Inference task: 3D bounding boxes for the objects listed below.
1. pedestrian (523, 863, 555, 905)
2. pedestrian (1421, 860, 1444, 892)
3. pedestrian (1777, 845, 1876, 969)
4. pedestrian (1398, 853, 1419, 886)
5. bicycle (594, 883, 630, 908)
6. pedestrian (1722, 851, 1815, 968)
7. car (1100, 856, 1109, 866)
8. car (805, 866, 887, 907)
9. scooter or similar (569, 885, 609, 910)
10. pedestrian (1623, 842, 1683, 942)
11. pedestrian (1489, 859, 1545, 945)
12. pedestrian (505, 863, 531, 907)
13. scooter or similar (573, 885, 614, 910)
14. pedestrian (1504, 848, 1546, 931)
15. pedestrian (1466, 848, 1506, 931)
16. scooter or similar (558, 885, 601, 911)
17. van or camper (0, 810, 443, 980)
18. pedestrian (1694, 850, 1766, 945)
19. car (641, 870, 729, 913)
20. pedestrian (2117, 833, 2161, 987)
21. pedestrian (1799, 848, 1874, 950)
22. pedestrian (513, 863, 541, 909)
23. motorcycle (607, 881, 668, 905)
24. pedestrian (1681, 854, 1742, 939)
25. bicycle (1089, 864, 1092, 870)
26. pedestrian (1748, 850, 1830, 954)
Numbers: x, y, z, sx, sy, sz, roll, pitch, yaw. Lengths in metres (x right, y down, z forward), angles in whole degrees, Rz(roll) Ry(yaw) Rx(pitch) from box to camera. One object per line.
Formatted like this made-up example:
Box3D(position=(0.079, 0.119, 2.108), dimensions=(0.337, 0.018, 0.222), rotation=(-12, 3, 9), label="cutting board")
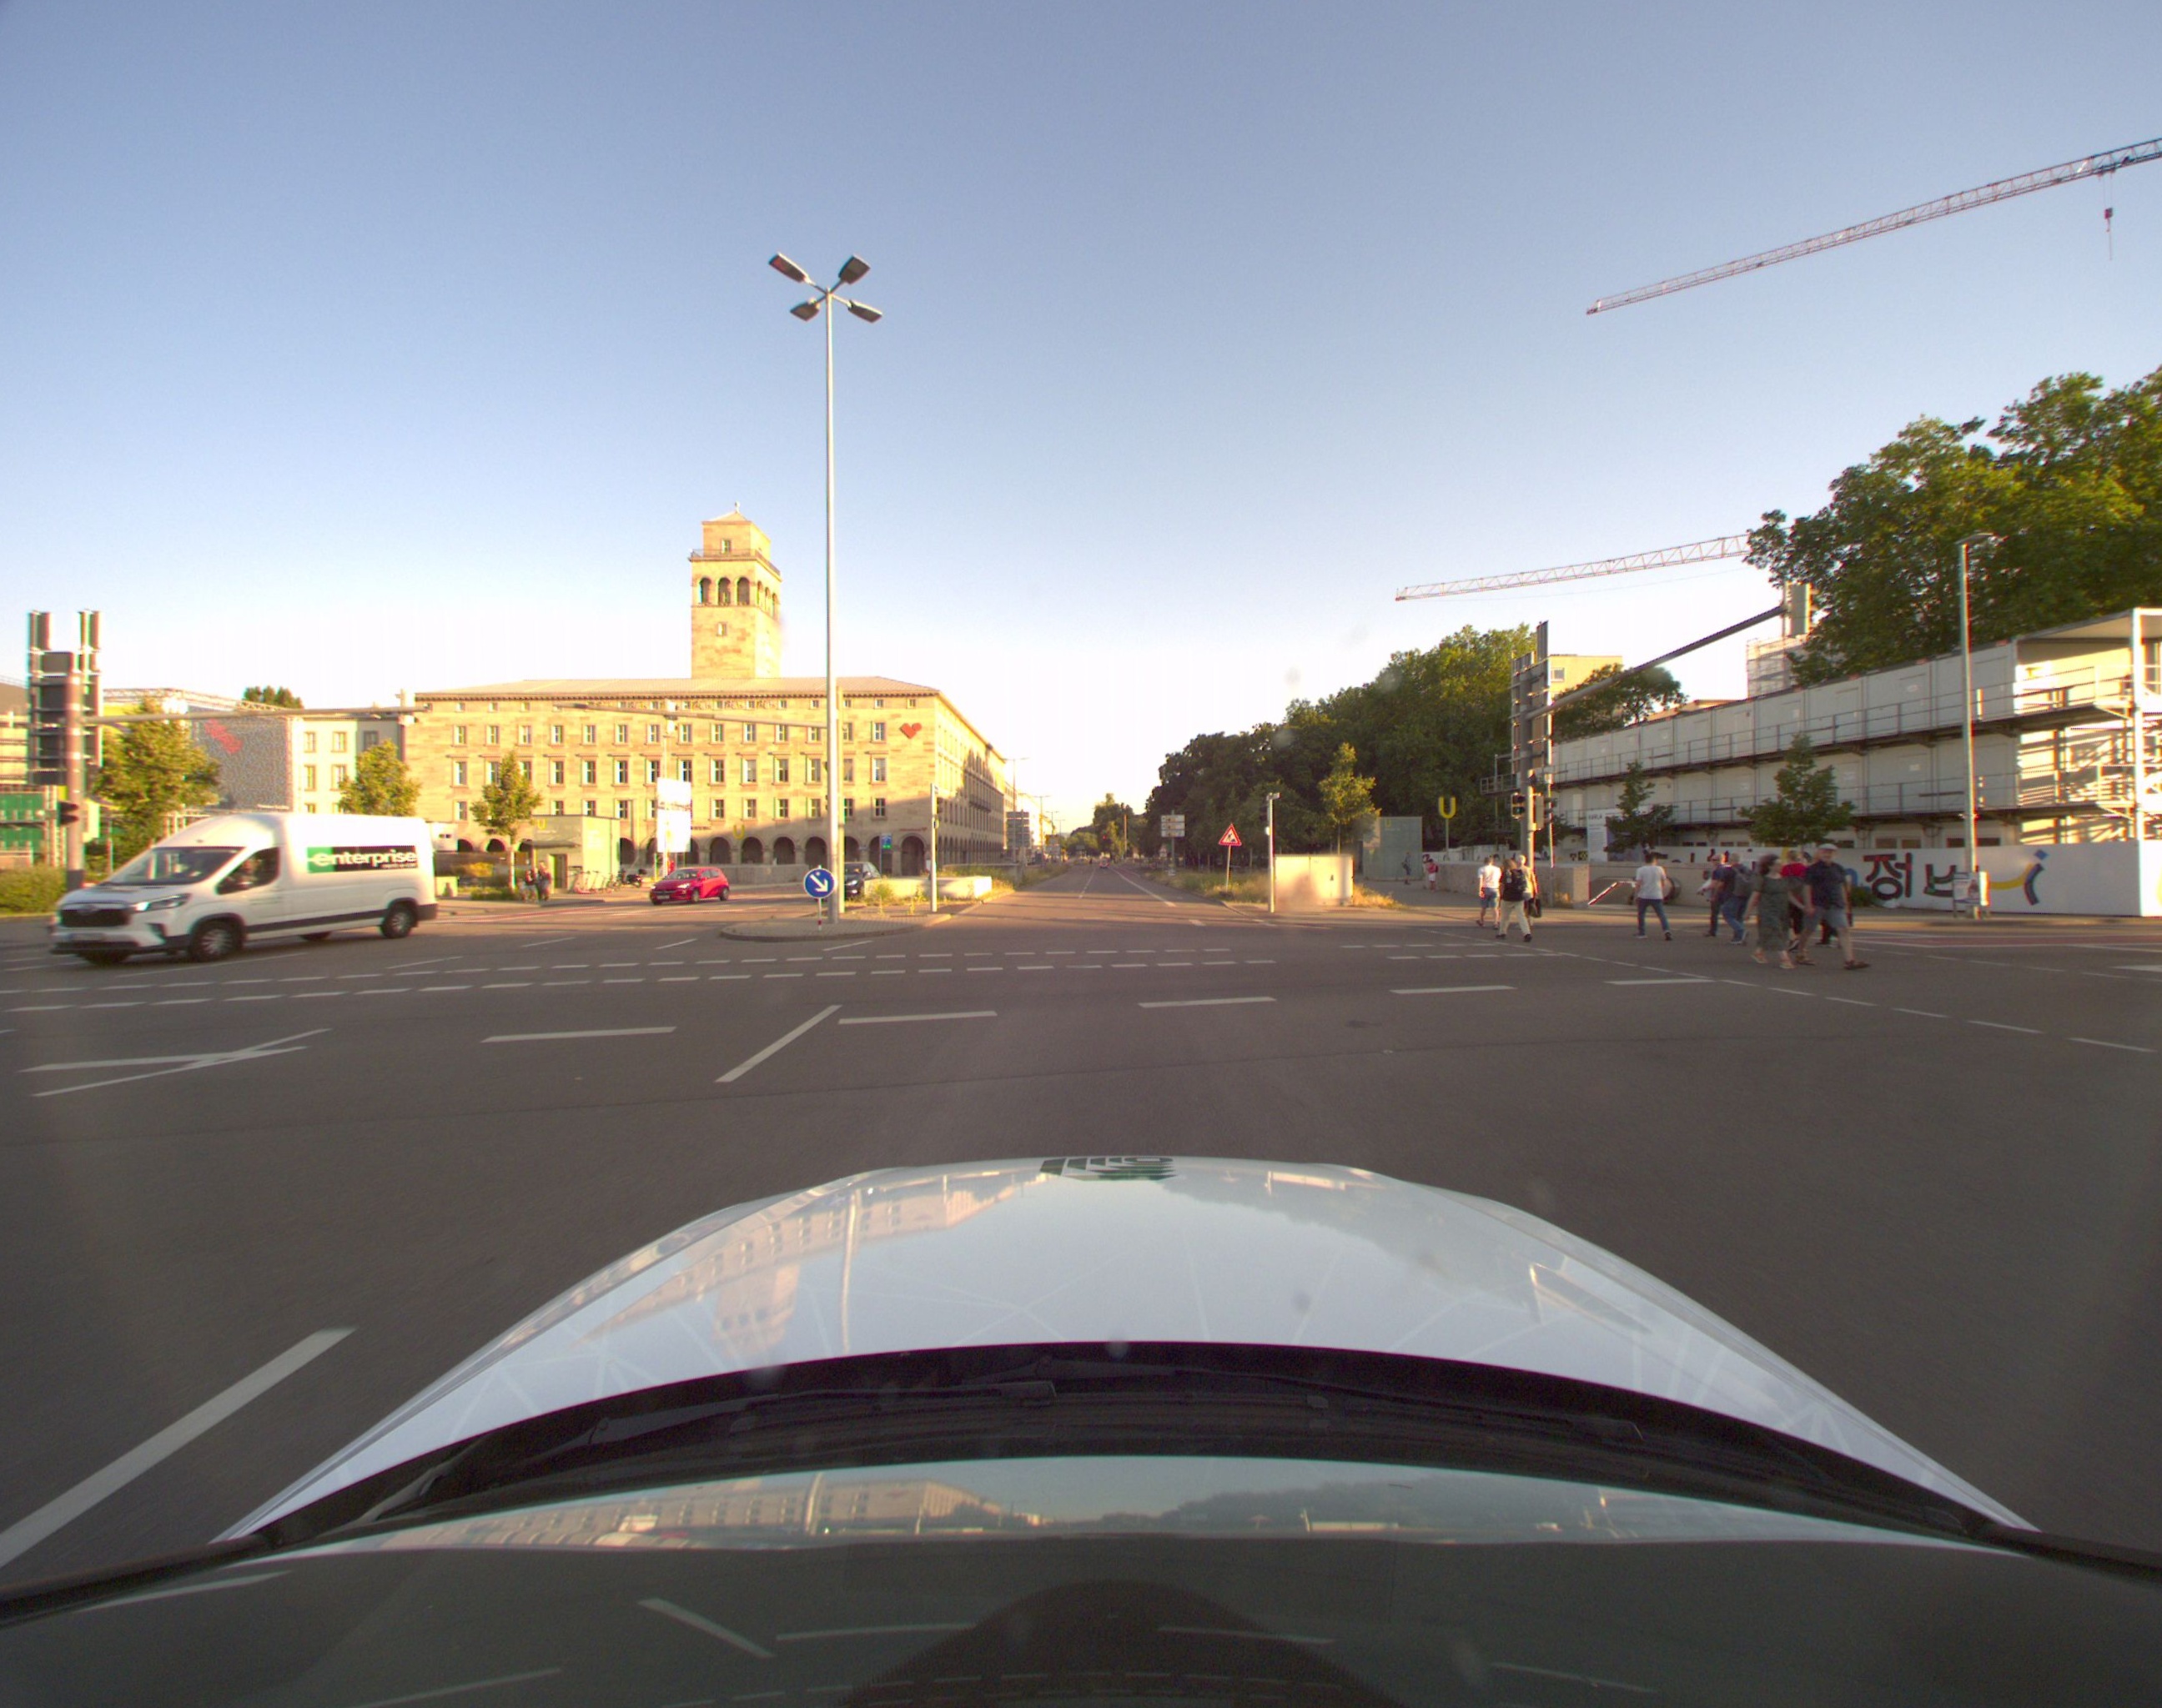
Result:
Box3D(position=(-23.917, 1.320, 35.962), dimensions=(0.868, 1.837, 0.776), rotation=(-1, 0, 1), label="pedestrian")
Box3D(position=(16.279, 1.012, 37.742), dimensions=(0.757, 1.490, 0.644), rotation=(-1, 1, 0), label="pedestrian")
Box3D(position=(10.863, 0.746, 11.898), dimensions=(0.640, 1.730, 0.871), rotation=(-1, 0, 2), label="pedestrian")
Box3D(position=(18.288, 0.867, 45.508), dimensions=(0.810, 1.815, 1.048), rotation=(-1, 0, 6), label="pedestrian")
Box3D(position=(-26.447, 2.345, 45.938), dimensions=(0.615, 1.324, 2.508), rotation=(-1, -1, -1), label="bicycle")
Box3D(position=(10.124, 0.789, 12.019), dimensions=(0.640, 1.659, 0.871), rotation=(-1, 0, 2), label="pedestrian")
Box3D(position=(4.111, 1.289, 143.707), dimensions=(1.453, 1.781, 2.566), rotation=(-1, 0, 3), label="car")
Box3D(position=(-9.000, 1.205, 31.541), dimensions=(1.881, 1.466, 4.536), rotation=(-1, -1, -1), label="car")
Box3D(position=(-26.261, 2.334, 43.496), dimensions=(1.828, 1.305, 0.422), rotation=(-1, -2, -6), label="scooter or similar")
Box3D(position=(11.480, 0.752, 16.366), dimensions=(0.640, 1.968, 0.763), rotation=(-1, -1, 2), label="pedestrian")
Box3D(position=(8.563, 0.927, 16.037), dimensions=(0.640, 1.628, 0.871), rotation=(-1, 0, 2), label="pedestrian")
Box3D(position=(-24.718, 1.358, 35.763), dimensions=(0.657, 1.933, 0.648), rotation=(-1, 0, 2), label="pedestrian")
Box3D(position=(-26.294, 2.337, 43.937), dimensions=(1.833, 1.305, 0.422), rotation=(-1, -2, -6), label="scooter or similar")
Box3D(position=(10.488, 0.821, 19.234), dimensions=(0.640, 1.933, 0.620), rotation=(-1, 0, 2), label="pedestrian")
Box3D(position=(9.616, 0.830, 19.357), dimensions=(0.640, 1.933, 0.620), rotation=(-1, 0, 2), label="pedestrian")
Box3D(position=(-26.167, 2.311, 42.509), dimensions=(1.855, 1.305, 0.499), rotation=(-1, -2, -6), label="scooter or similar")
Box3D(position=(-16.128, 0.656, 16.049), dimensions=(2.219, 2.666, 6.162), rotation=(-1, 0, 0), label="van or camper")
Box3D(position=(12.080, 0.807, 15.179), dimensions=(0.640, 1.713, 0.763), rotation=(-1, -4, 2), label="pedestrian")
Box3D(position=(-15.926, 1.473, 32.989), dimensions=(1.630, 1.527, 3.998), rotation=(-1, 0, -1), label="car")
Box3D(position=(13.047, 0.652, 9.536), dimensions=(0.640, 1.813, 0.871), rotation=(-1, -2, 2), label="pedestrian")
Box3D(position=(13.439, 0.792, 14.504), dimensions=(0.640, 1.745, 0.577), rotation=(-4, -2, 2), label="pedestrian")
Box3D(position=(-23.830, 1.352, 35.021), dimensions=(0.629, 1.933, 0.776), rotation=(-1, 0, 1), label="pedestrian")
Box3D(position=(-27.204, 2.396, 50.002), dimensions=(3.224, 1.383, 0.839), rotation=(1, -1, -2), label="motorcycle")
Box3D(position=(13.008, 0.856, 16.809), dimensions=(0.641, 1.712, 0.761), rotation=(-1, 0, -3), label="pedestrian")
Box3D(position=(1.824, 2.424, 152.847), dimensions=(0.635, 1.069, 2.069), rotation=(-1, 0, 1), label="bicycle")
Box3D(position=(12.015, 0.795, 13.848), dimensions=(0.640, 1.712, 0.871), rotation=(-1, 0, 2), label="pedestrian")
